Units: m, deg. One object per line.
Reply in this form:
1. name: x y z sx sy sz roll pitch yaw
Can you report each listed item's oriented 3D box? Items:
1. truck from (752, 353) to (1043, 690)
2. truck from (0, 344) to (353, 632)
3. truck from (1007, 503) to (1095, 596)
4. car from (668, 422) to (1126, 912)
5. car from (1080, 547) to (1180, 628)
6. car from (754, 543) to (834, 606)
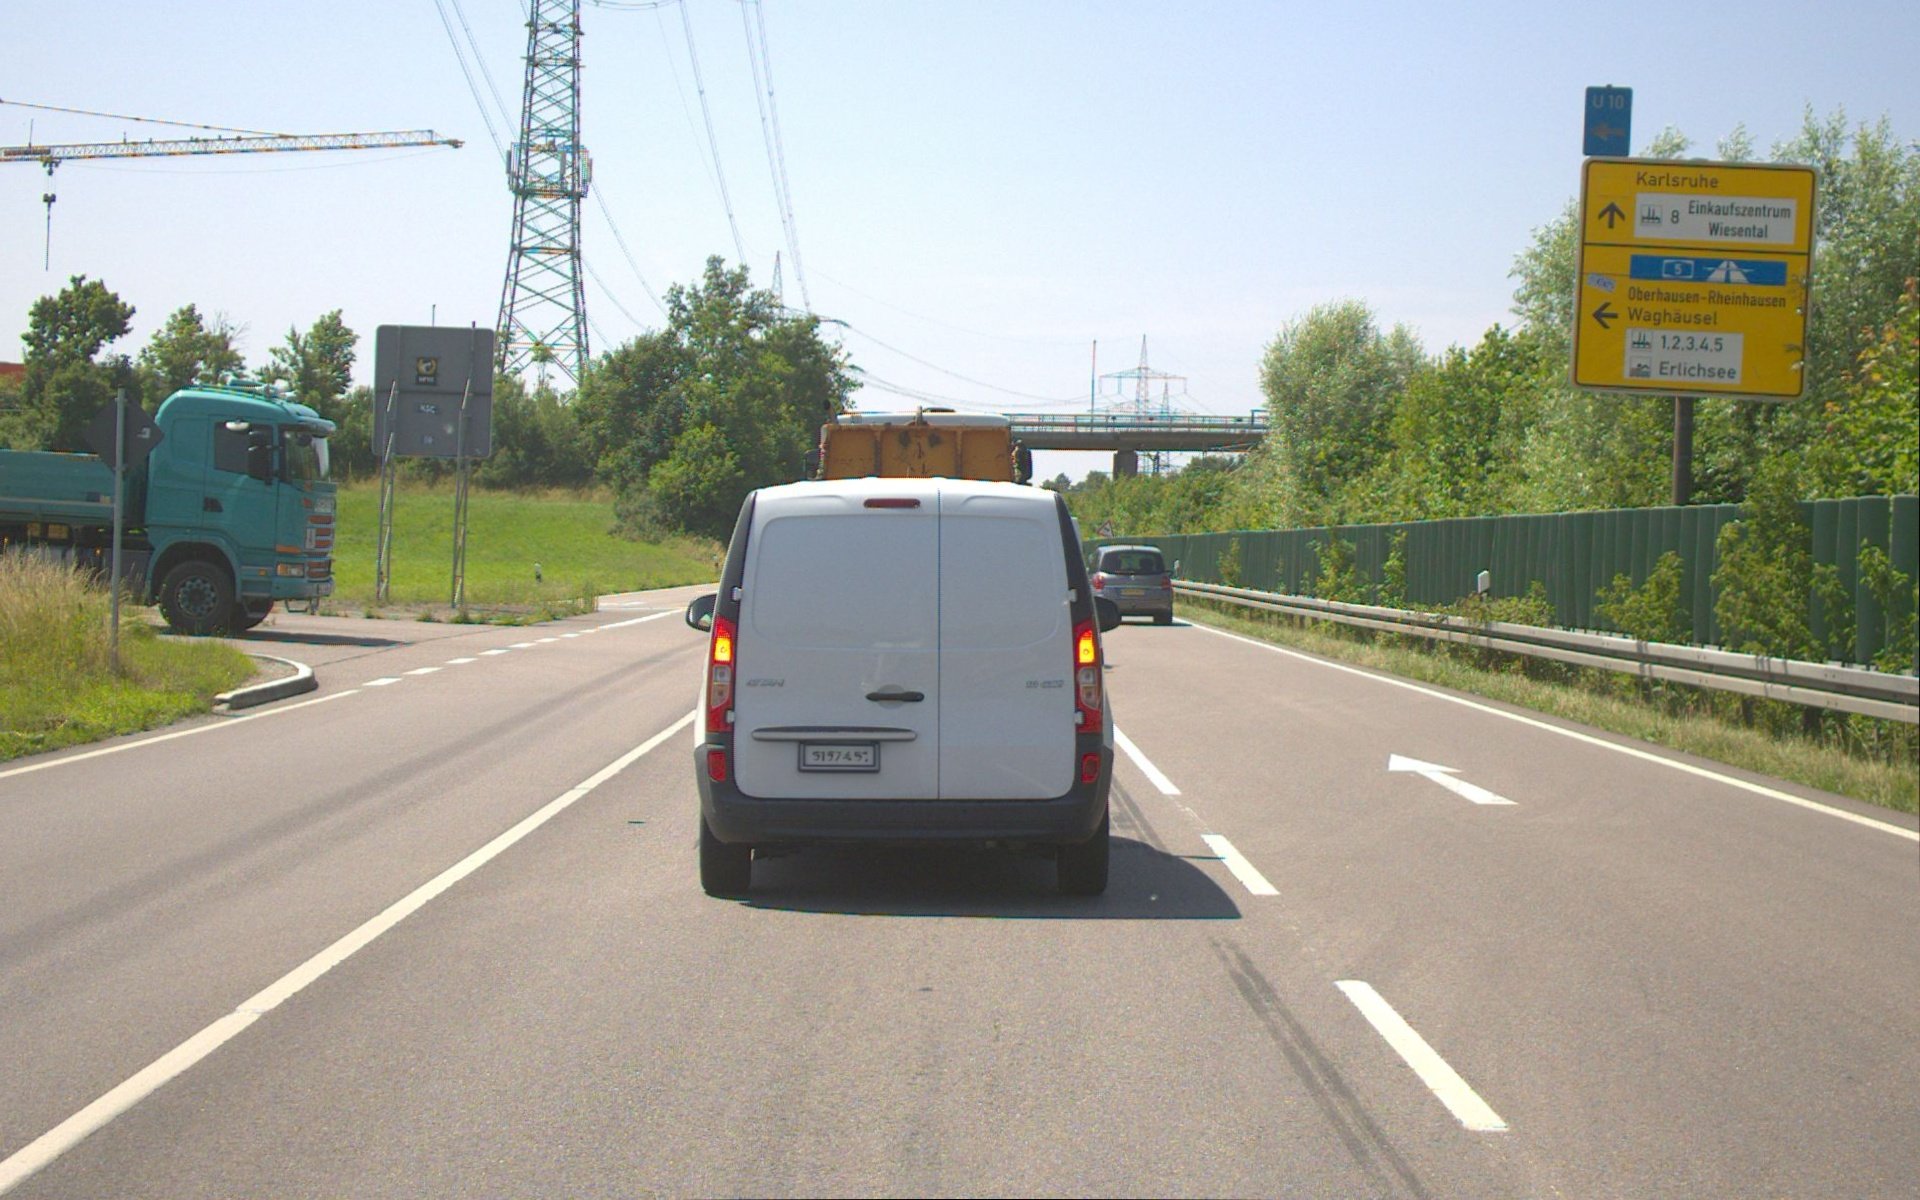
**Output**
1. truck: -0.601 -0.915 38.969 2.820 3.277 9.701 1 2 0
2. truck: -12.884 -1.674 48.688 7.905 3.721 2.498 3 1 3
3. truck: 2.771 -1.581 106.169 2.374 2.680 8.010 2 1 0
4. car: -0.266 0.237 15.892 1.827 1.964 4.000 1 1 0
5. car: 3.426 -0.269 69.875 1.848 1.568 4.000 1 1 0
6. car: -4.105 -0.654 85.564 1.725 1.436 4.249 3 1 0
